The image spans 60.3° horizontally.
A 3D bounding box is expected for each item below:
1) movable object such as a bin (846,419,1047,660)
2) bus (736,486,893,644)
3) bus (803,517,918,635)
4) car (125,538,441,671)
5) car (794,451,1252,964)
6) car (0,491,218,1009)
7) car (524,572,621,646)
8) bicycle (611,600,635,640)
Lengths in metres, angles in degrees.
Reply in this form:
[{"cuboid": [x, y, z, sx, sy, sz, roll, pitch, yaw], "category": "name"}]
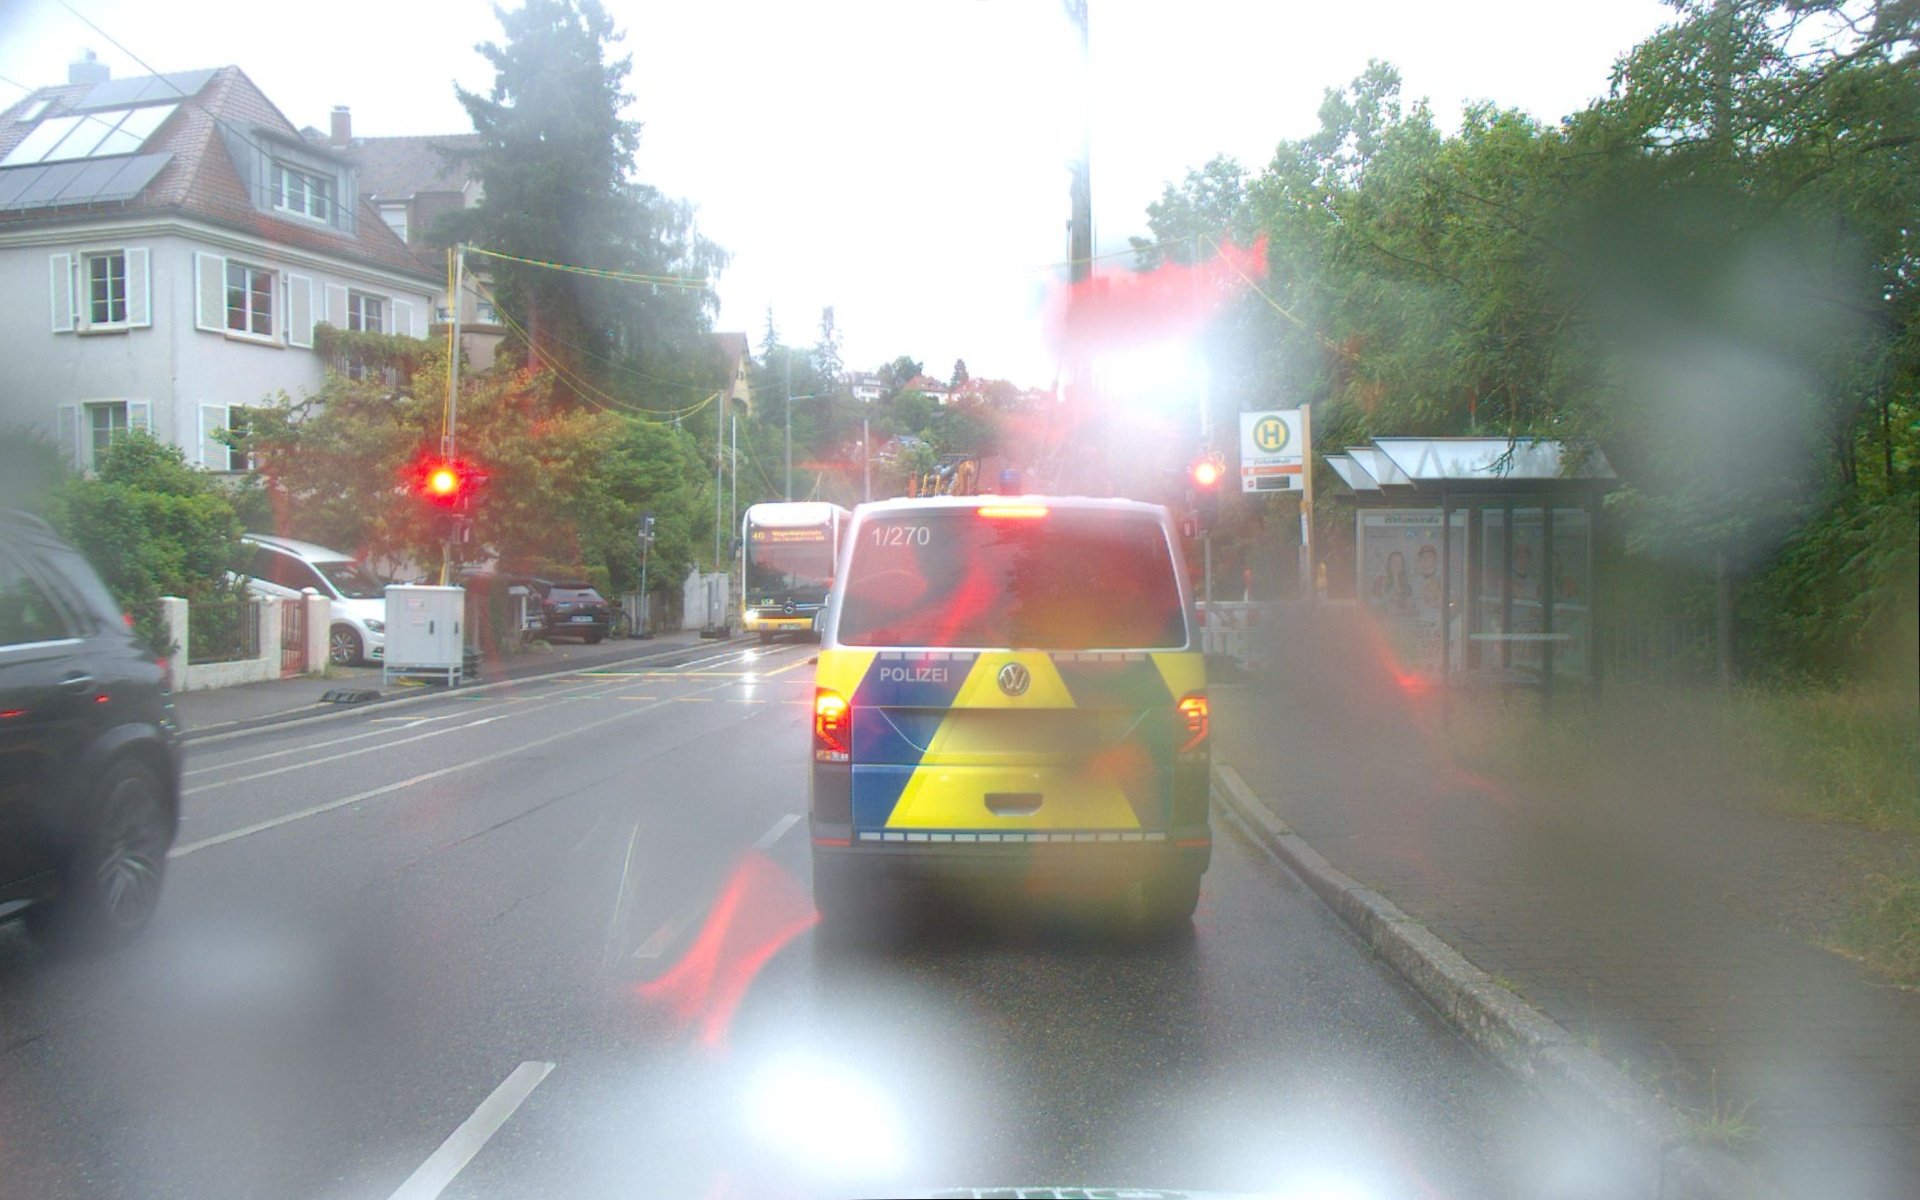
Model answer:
[{"cuboid": [-0.158, -1.098, 31.634, 2.770, 4.250, 4.384, 1, 0, 14], "category": "movable object such as a bin"}, {"cuboid": [-3.785, -0.897, 46.197, 2.782, 3.783, 12.009, 1, 0, 2], "category": "bus"}, {"cuboid": [-3.278, -0.802, 58.150, 2.782, 3.688, 12.009, 1, 0, 2], "category": "bus"}, {"cuboid": [-11.201, 0.054, 27.486, 4.532, 2.042, 1.902, 1, 0, 11], "category": "car"}, {"cuboid": [0.234, 0.434, 8.817, 1.855, 2.086, 3.999, 1, 0, -1], "category": "car"}, {"cuboid": [-4.237, 0.507, 5.138, 1.939, 1.778, 4.551, 1, 1, -2], "category": "car"}, {"cuboid": [-8.903, 0.173, 37.825, 1.739, 1.512, 3.721, 1, 2, -20], "category": "car"}, {"cuboid": [-8.045, 0.463, 39.450, 0.455, 0.913, 1.628, 0, 0, -15], "category": "bicycle"}]
